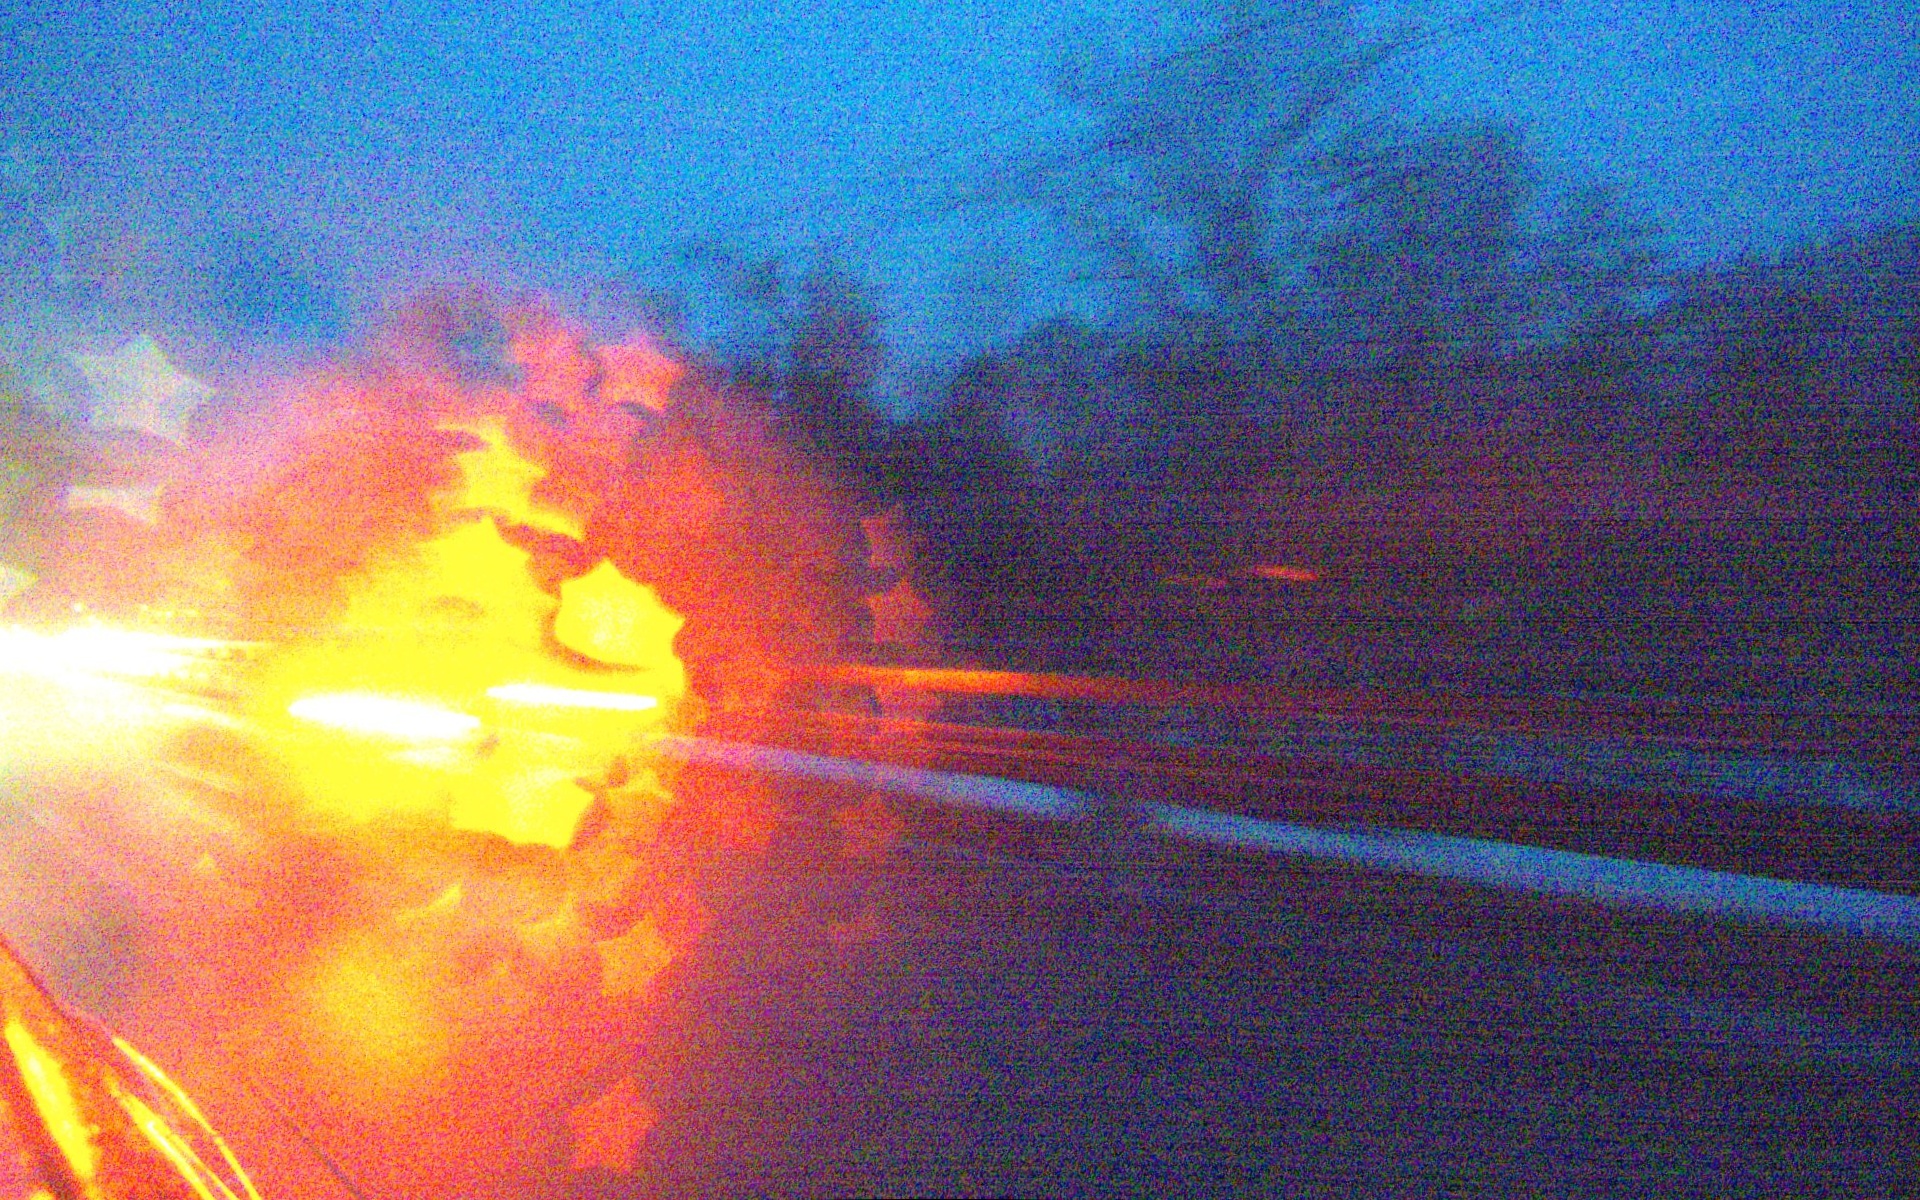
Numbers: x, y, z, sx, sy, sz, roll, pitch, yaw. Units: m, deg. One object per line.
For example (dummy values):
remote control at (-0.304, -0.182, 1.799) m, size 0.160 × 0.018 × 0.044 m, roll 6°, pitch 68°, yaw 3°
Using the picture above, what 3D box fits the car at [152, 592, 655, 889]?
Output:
car at (-4.352, 0.740, 7.532) m, size 4.644 × 1.556 × 1.815 m, roll 0°, pitch 0°, yaw 41°

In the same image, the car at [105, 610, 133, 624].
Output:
car at (-115.174, 2.314, 138.583) m, size 1.965 × 1.940 × 4.013 m, roll -1°, pitch 0°, yaw -25°
